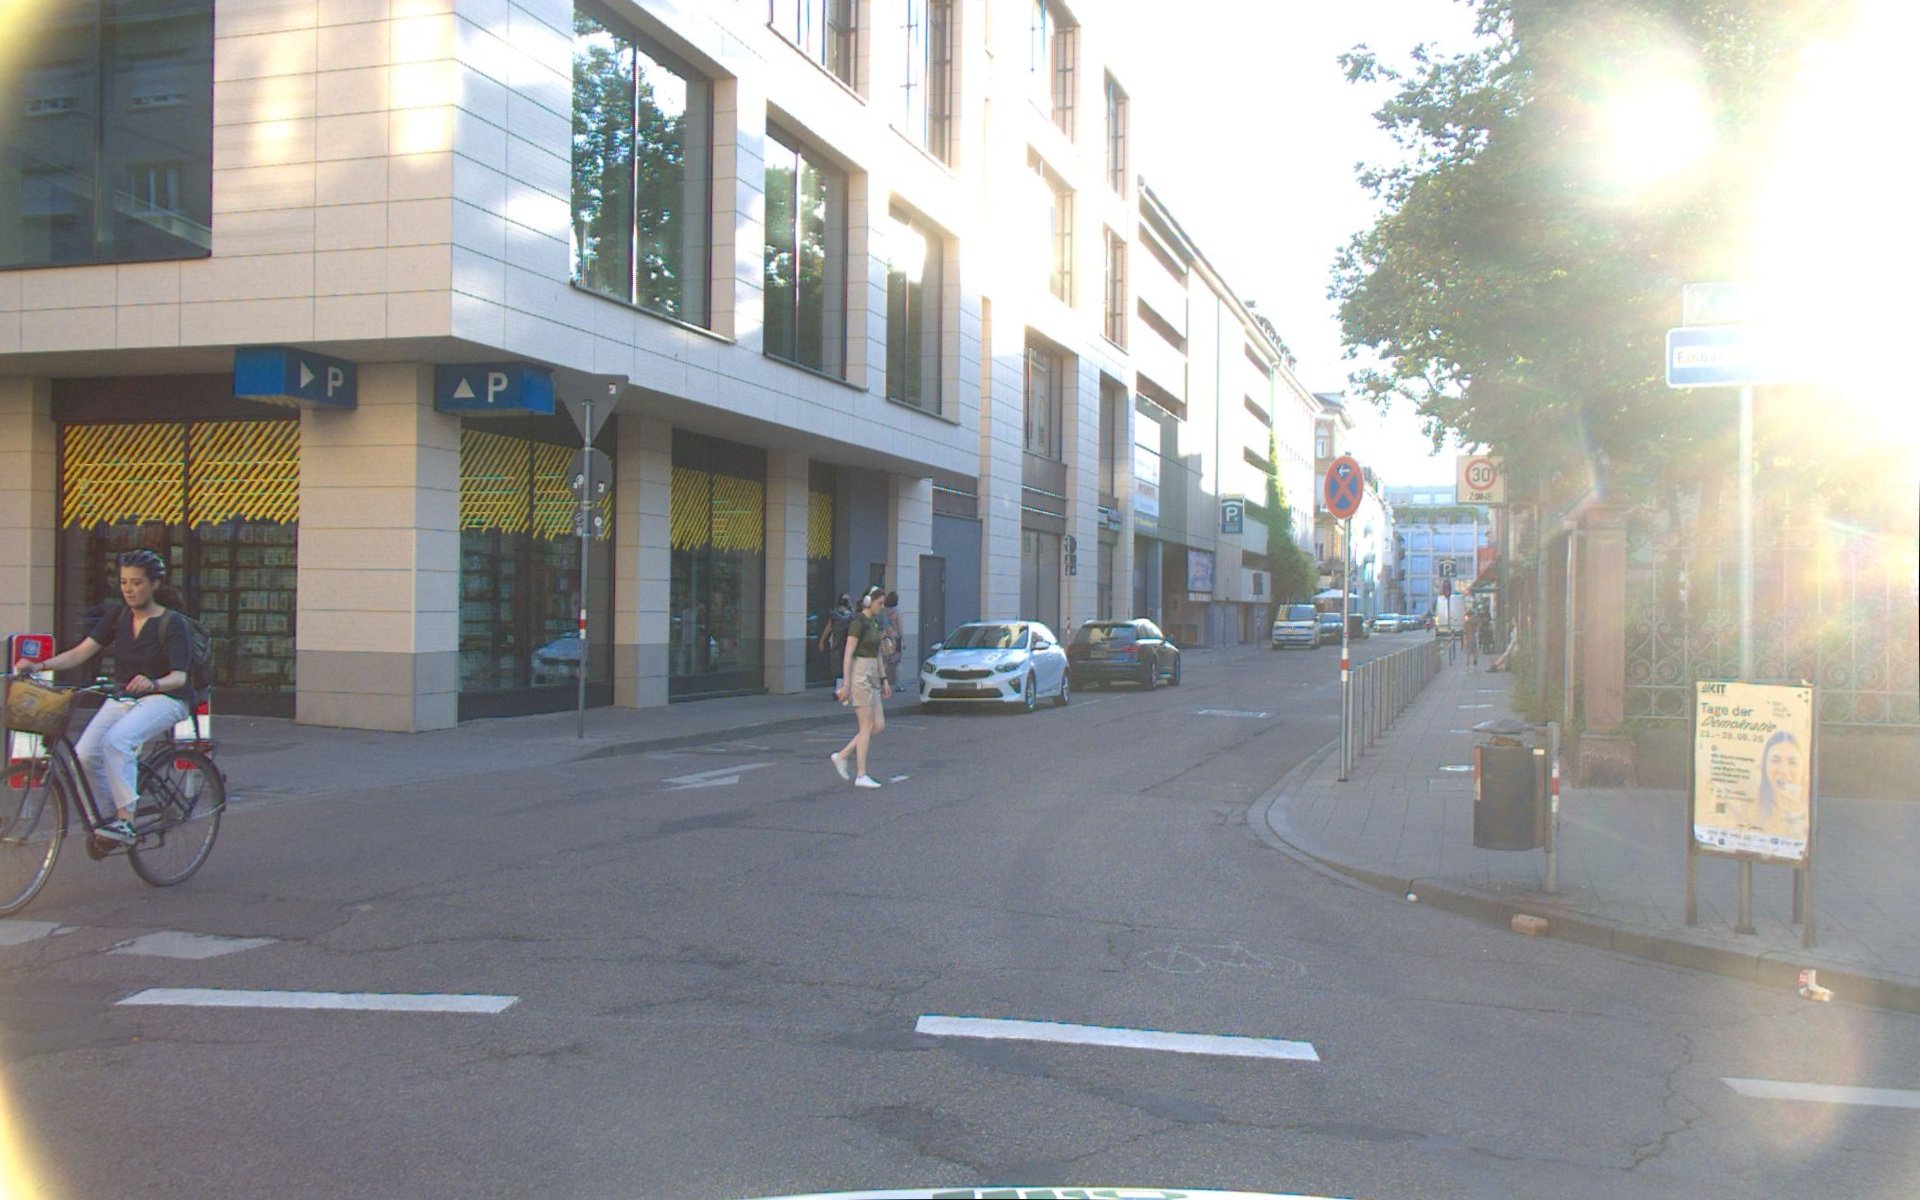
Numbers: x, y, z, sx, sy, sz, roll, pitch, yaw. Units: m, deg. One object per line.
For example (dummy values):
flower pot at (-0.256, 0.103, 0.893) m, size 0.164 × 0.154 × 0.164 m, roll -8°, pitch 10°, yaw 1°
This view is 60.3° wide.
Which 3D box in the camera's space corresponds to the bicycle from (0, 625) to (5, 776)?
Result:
bicycle at (-7.027, 0.778, 10.190) m, size 0.650 × 1.277 × 2.142 m, roll 1°, pitch -1°, yaw 14°

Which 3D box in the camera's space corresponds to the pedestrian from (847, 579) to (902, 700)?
pedestrian at (-1.341, 0.611, 25.975) m, size 0.657 × 1.869 × 0.648 m, roll 1°, pitch 0°, yaw 15°

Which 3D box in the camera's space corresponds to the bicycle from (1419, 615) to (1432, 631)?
bicycle at (38.874, 1.898, 138.173) m, size 0.955 × 1.303 × 2.755 m, roll 1°, pitch -1°, yaw 18°

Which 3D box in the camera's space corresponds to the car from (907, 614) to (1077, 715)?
car at (0.612, 0.983, 27.027) m, size 1.740 × 1.478 × 4.233 m, roll 1°, pitch 0°, yaw 16°

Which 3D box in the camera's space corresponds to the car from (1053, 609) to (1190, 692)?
car at (3.558, 1.030, 35.602) m, size 1.844 × 1.626 × 4.690 m, roll 1°, pitch 0°, yaw 19°

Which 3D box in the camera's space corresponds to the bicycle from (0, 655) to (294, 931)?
bicycle at (-4.172, 0.875, 8.198) m, size 0.650 × 1.158 × 1.823 m, roll 1°, pitch -1°, yaw 14°

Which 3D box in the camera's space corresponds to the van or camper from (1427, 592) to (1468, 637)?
van or camper at (30.246, 0.936, 102.494) m, size 2.210 × 2.653 × 5.114 m, roll -3°, pitch -2°, yaw 17°

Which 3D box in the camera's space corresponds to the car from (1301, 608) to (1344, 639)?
car at (18.240, 1.152, 83.159) m, size 1.843 × 1.478 × 4.002 m, roll 1°, pitch 0°, yaw 16°

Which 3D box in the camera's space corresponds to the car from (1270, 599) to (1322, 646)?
car at (14.730, 0.981, 72.386) m, size 1.843 × 1.945 × 4.751 m, roll 1°, pitch 0°, yaw 16°

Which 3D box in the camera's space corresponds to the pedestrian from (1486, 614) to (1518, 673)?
pedestrian at (14.331, 1.145, 43.738) m, size 0.733 × 1.526 × 0.619 m, roll -1°, pitch -1°, yaw 12°

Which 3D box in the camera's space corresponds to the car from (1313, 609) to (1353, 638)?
car at (19.781, 1.243, 87.651) m, size 1.843 × 1.478 × 4.002 m, roll 1°, pitch 0°, yaw 16°

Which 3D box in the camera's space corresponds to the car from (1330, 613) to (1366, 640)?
car at (22.620, 1.514, 96.358) m, size 1.843 × 1.478 × 4.002 m, roll 1°, pitch 0°, yaw 16°

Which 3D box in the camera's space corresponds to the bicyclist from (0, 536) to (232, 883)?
bicyclist at (-4.177, 0.509, 8.149) m, size 0.644 × 1.598 × 0.864 m, roll 1°, pitch -1°, yaw 14°

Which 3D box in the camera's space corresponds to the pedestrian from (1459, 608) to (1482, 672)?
pedestrian at (13.660, 1.061, 44.260) m, size 0.474 × 1.687 × 0.619 m, roll -1°, pitch -1°, yaw 10°

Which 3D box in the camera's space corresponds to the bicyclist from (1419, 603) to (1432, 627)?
bicyclist at (38.858, 1.252, 138.043) m, size 0.969 × 1.901 × 0.708 m, roll 1°, pitch -1°, yaw 18°

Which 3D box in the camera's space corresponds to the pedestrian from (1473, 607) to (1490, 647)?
pedestrian at (21.921, 1.133, 69.494) m, size 0.648 × 1.695 × 0.624 m, roll -1°, pitch -1°, yaw 18°

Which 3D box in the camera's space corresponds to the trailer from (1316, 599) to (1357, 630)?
trailer at (20.924, 0.815, 91.865) m, size 1.951 × 1.584 × 4.002 m, roll 1°, pitch -1°, yaw 16°

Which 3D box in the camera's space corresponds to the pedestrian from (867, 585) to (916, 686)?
pedestrian at (-1.214, 0.626, 29.431) m, size 0.658 × 1.775 × 0.647 m, roll 1°, pitch -1°, yaw 18°

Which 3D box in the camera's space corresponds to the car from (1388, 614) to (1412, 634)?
car at (40.021, 2.207, 150.382) m, size 1.952 × 1.713 × 4.002 m, roll 1°, pitch -1°, yaw 18°

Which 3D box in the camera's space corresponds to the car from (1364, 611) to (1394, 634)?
car at (32.748, 1.742, 129.226) m, size 1.952 × 1.713 × 4.002 m, roll 1°, pitch -1°, yaw 18°

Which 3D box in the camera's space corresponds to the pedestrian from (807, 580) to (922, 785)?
pedestrian at (-0.852, 0.704, 14.676) m, size 0.631 × 1.753 × 0.834 m, roll 1°, pitch -1°, yaw -38°

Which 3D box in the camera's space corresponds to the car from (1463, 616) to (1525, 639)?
car at (36.149, 1.849, 111.978) m, size 3.903 × 1.445 × 1.657 m, roll 1°, pitch -1°, yaw 18°

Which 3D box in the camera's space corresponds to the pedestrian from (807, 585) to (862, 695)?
pedestrian at (-1.983, 0.622, 26.162) m, size 0.657 × 1.704 × 0.648 m, roll 1°, pitch 0°, yaw 15°

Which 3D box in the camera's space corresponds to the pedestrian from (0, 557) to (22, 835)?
pedestrian at (-6.171, 0.575, 9.805) m, size 0.603 × 1.687 × 0.873 m, roll 1°, pitch -1°, yaw 11°
